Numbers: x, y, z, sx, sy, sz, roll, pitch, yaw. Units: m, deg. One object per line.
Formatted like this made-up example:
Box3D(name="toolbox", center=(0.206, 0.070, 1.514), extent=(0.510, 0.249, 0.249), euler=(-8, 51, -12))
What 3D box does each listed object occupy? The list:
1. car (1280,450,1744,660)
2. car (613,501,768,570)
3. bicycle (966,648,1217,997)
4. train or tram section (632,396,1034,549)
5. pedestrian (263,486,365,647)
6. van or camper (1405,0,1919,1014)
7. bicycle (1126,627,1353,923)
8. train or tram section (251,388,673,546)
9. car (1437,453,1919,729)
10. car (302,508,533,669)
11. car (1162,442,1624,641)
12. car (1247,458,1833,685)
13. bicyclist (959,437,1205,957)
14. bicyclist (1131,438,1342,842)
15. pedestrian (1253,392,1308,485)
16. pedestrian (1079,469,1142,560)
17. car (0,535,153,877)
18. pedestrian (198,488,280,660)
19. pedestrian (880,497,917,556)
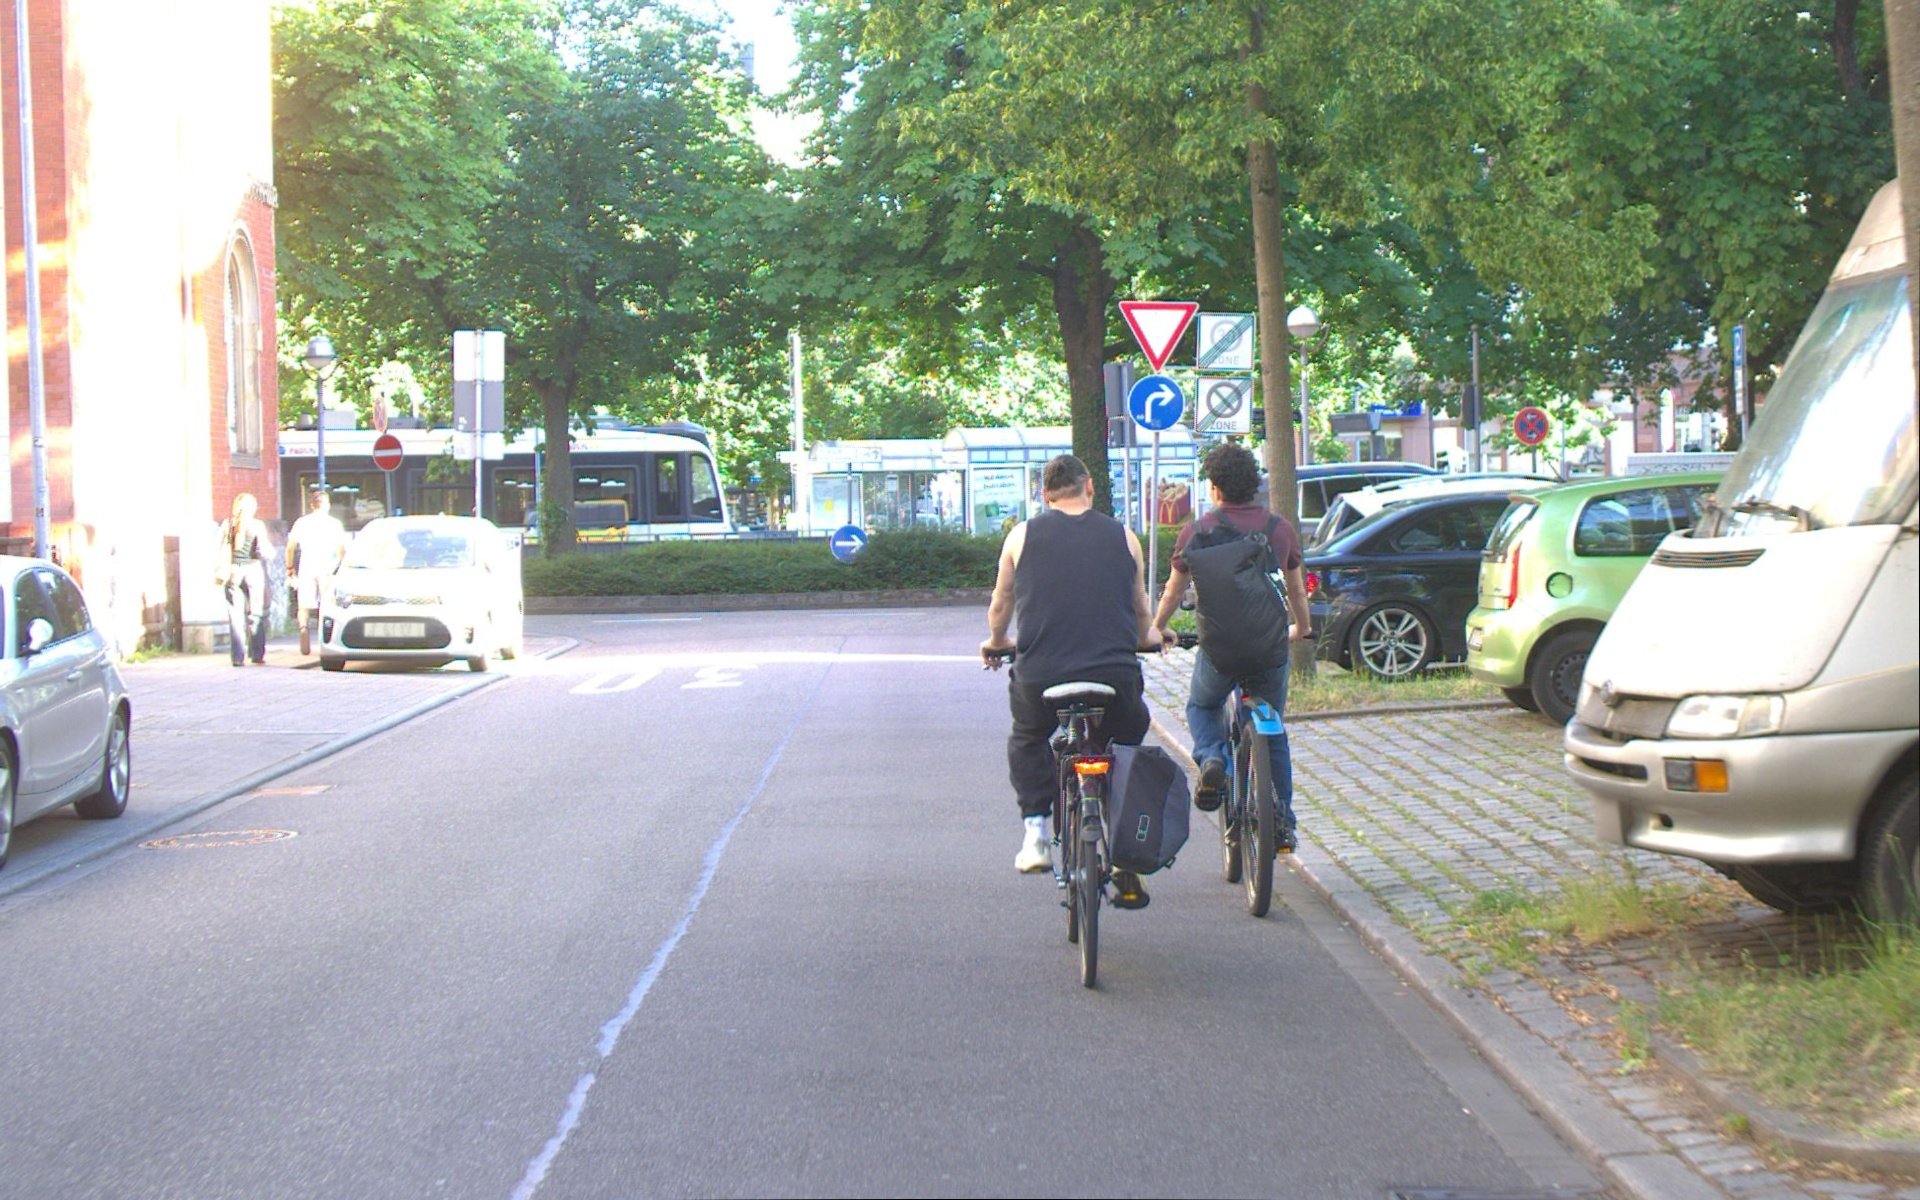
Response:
Box3D(name="car", center=(4.614, -0.392, 29.129), extent=(3.693, 1.645, 1.704), euler=(-1, 2, 3))
Box3D(name="car", center=(-7.827, -1.877, 99.700), extent=(3.986, 1.864, 2.000), euler=(-2, 2, -26))
Box3D(name="bicycle", center=(0.410, 0.705, 11.686), extent=(0.737, 1.008, 2.061), euler=(1, 1, -1))
Box3D(name="train or tram section", center=(-2.805, -2.794, 76.397), extent=(8.415, 3.190, 2.862), euler=(0, 2, -23))
Box3D(name="pedestrian", center=(-6.686, -0.354, 35.627), extent=(0.867, 1.637, 0.860), euler=(-1, 2, 0))
Box3D(name="van or camper", center=(5.190, -0.501, 11.010), extent=(7.075, 3.067, 2.465), euler=(-2, 2, -3))
Box3D(name="bicycle", center=(1.076, 0.649, 13.642), extent=(0.674, 1.050, 2.061), euler=(-1, 0, -1))
Box3D(name="train or tram section", center=(-10.572, -2.785, 73.134), extent=(8.415, 3.166, 2.862), euler=(0, 2, -23))
Box3D(name="car", center=(4.868, -0.098, 21.081), extent=(3.589, 1.500, 1.678), euler=(-2, 2, 0))
Box3D(name="car", center=(-5.327, -0.155, 34.159), extent=(1.705, 1.480, 3.798), euler=(1, 2, 0))
Box3D(name="car", center=(4.186, -0.599, 33.673), extent=(4.105, 1.707, 2.025), euler=(-3, 2, -5))
Box3D(name="car", center=(4.374, -0.235, 26.367), extent=(4.104, 1.407, 1.792), euler=(-4, 2, 0))
Box3D(name="bicyclist", center=(0.399, 0.305, 11.651), extent=(0.752, 1.676, 0.913), euler=(-1, 1, -1))
Box3D(name="bicyclist", center=(1.072, 0.143, 13.522), extent=(0.671, 1.509, 1.069), euler=(-1, 1, -2))
Box3D(name="pedestrian", center=(5.920, -2.976, 63.448), extent=(0.916, 1.678, 0.780), euler=(-1, 2, 10))
Box3D(name="pedestrian", center=(3.166, -1.805, 72.440), extent=(1.016, 1.891, 0.912), euler=(-2, 2, -22))
Box3D(name="car", center=(-5.139, 0.449, 16.450), extent=(1.744, 1.461, 4.104), euler=(-1, 2, -3))
Box3D(name="pedestrian", center=(-6.866, -0.254, 32.770), extent=(0.599, 1.599, 0.855), euler=(-2, 1, -4))
Box3D(name="pedestrian", center=(-1.616, -1.928, 90.537), extent=(0.809, 1.538, 0.821), euler=(0, 1, -12))
